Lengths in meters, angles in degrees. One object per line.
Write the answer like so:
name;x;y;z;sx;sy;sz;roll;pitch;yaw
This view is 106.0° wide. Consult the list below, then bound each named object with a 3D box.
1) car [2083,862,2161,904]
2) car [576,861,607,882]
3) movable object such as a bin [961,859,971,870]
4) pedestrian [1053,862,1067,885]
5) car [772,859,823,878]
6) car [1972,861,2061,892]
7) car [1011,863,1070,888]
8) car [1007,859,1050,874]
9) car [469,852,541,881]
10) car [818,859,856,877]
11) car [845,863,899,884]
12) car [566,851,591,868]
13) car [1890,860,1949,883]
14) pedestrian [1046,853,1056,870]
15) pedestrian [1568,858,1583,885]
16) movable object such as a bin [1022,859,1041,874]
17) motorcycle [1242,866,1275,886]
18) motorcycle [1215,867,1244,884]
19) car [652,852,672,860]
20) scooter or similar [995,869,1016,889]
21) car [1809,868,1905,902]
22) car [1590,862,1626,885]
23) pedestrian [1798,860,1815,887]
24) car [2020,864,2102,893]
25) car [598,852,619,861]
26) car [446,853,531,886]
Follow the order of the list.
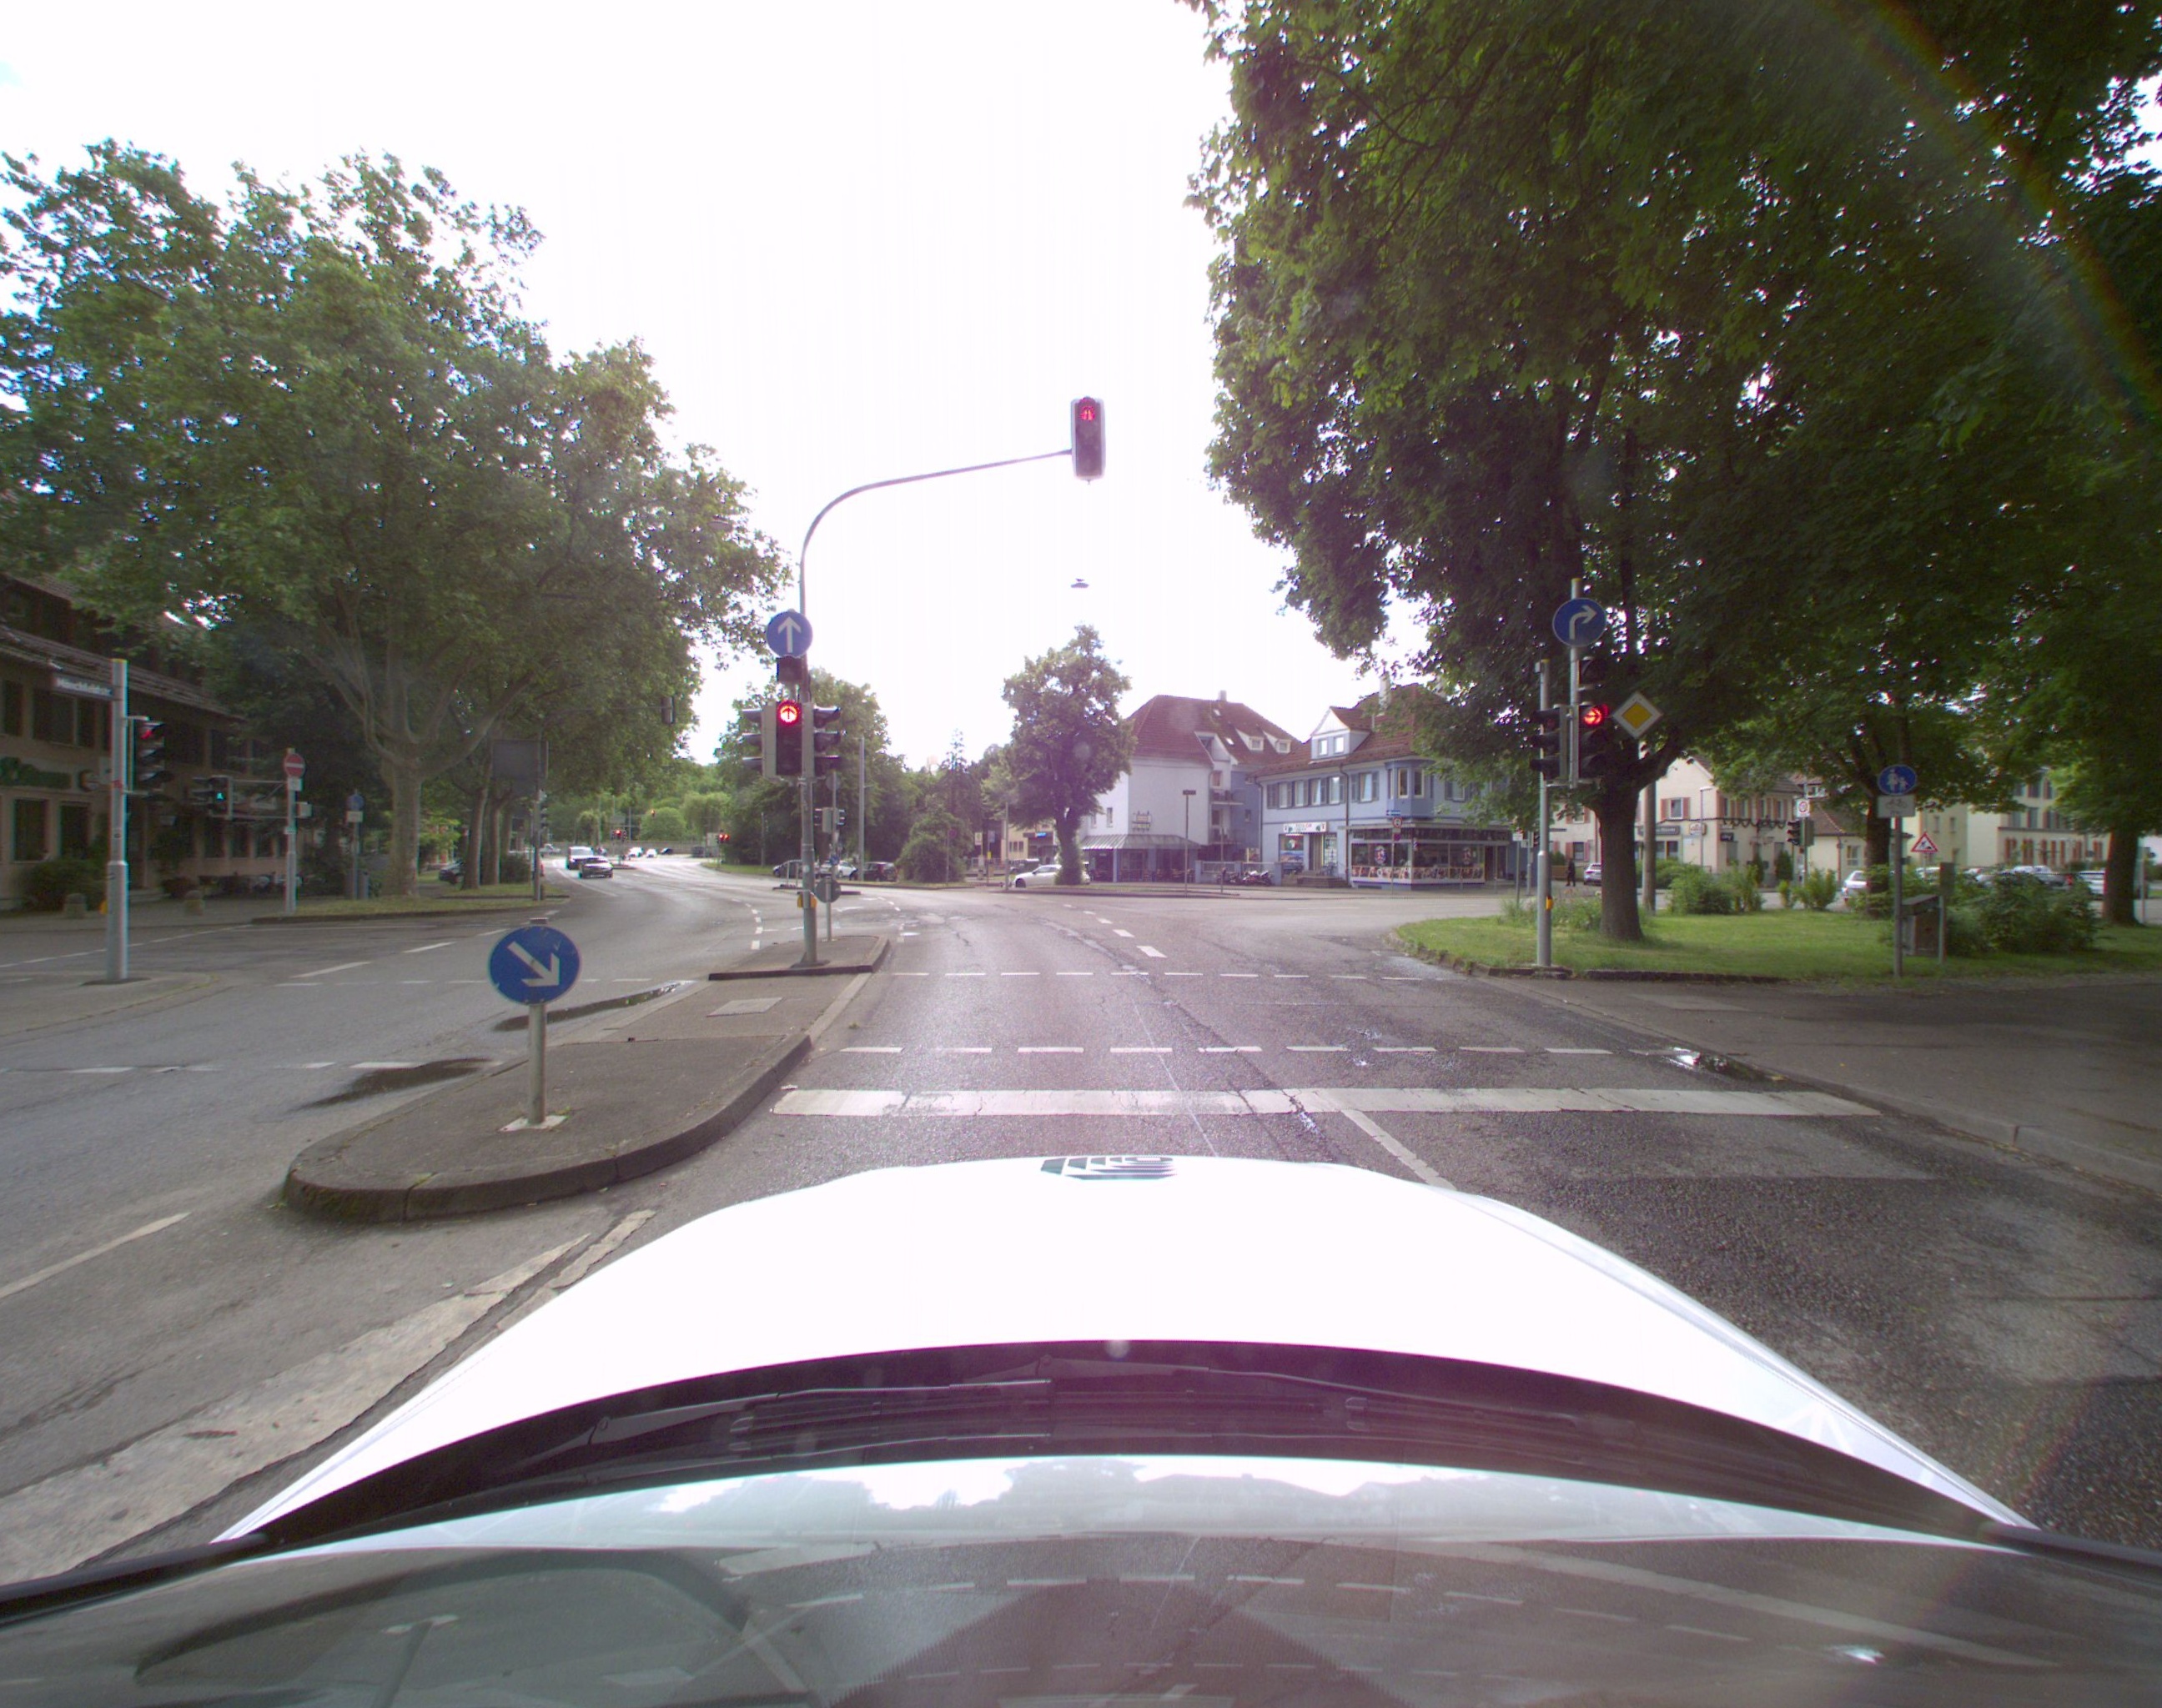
car;52.834;1.434;41.122;4.004;2.014;1.770;0;-1;-23
car;-33.657;1.184;55.976;1.440;1.416;2.838;0;-1;-39
movable object such as a bin;-12.220;1.127;86.634;0.953;1.115;0.381;0;-1;-19
pedestrian;-1.470;1.374;57.575;0.759;1.545;0.682;-1;-1;41
car;-22.436;1.120;64.479;3.520;1.464;1.591;0;0;14
car;42.219;0.975;36.748;3.510;1.321;1.549;0;0;-21
car;-2.305;1.204;46.233;3.134;1.354;1.448;0;-1;36
car;-4.879;1.141;76.151;3.752;1.345;1.422;0;0;-25
car;-35.482;0.761;50.277;3.461;1.742;1.557;0;-1;-31
car;-20.078;1.136;67.181;1.534;1.464;3.407;0;0;13
car;-13.904;1.270;54.200;3.549;1.394;1.481;0;-1;34
car;-42.926;0.471;69.519;1.440;1.416;2.838;0;-1;-39
car;55.118;1.127;53.526;4.007;1.420;1.544;0;0;-26
pedestrian;-2.784;0.702;76.315;0.681;1.545;0.701;0;-1;-32
pedestrian;28.843;1.018;47.521;0.584;1.517;0.459;-1;-1;-5
movable object such as a bin;-4.522;1.139;74.243;1.447;1.409;0.959;0;-1;-25
motorcycle;10.538;1.290;48.259;1.777;1.121;0.699;0;-1;40
motorcycle;9.116;1.316;50.073;0.699;1.064;1.617;0;-1;-44
car;-95.500;0.457;185.594;4.011;2.014;1.981;0;-1;-29
scooter or similar;-3.975;1.292;42.876;0.413;1.011;1.575;-1;-1;22
car;31.966;1.251;33.564;3.511;1.321;1.549;0;0;-22
car;32.605;1.185;50.337;1.481;1.369;3.198;-1;-1;40
pedestrian;43.815;1.177;49.192;0.611;1.649;0.606;0;-1;-27
car;47.006;1.166;39.056;3.511;1.321;1.549;0;0;-22
car;-106.179;0.515;183.018;4.011;2.014;1.981;0;-1;-29
car;-30.999;0.788;42.711;3.461;1.641;1.557;0;-1;-31
